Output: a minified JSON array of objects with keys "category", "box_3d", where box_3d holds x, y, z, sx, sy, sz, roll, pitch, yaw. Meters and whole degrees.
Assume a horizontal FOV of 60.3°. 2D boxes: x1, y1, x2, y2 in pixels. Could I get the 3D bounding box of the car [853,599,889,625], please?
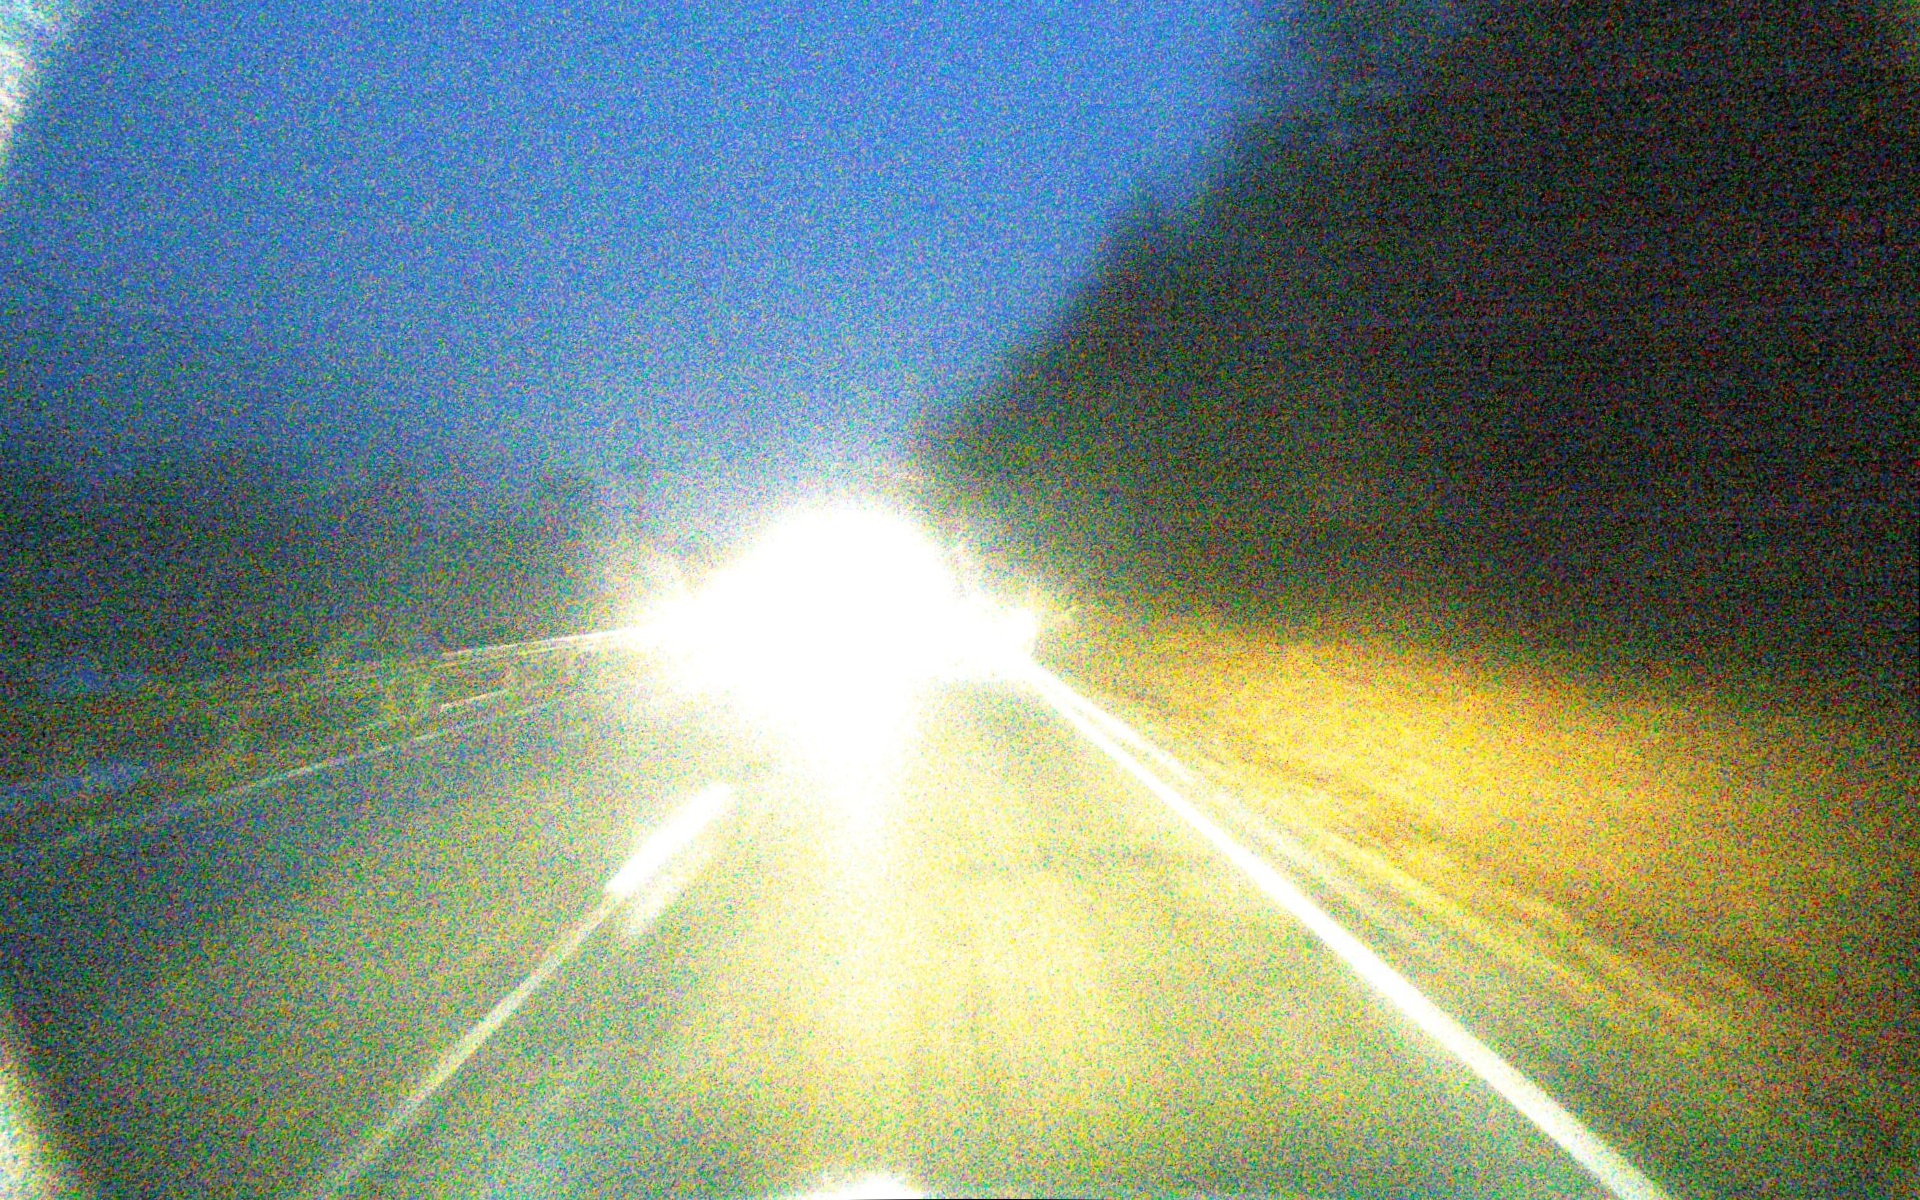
[{"category":"car","box_3d":[-5.306,0.699,99.210,1.953,1.473,4.428,1,0,-1]}]
